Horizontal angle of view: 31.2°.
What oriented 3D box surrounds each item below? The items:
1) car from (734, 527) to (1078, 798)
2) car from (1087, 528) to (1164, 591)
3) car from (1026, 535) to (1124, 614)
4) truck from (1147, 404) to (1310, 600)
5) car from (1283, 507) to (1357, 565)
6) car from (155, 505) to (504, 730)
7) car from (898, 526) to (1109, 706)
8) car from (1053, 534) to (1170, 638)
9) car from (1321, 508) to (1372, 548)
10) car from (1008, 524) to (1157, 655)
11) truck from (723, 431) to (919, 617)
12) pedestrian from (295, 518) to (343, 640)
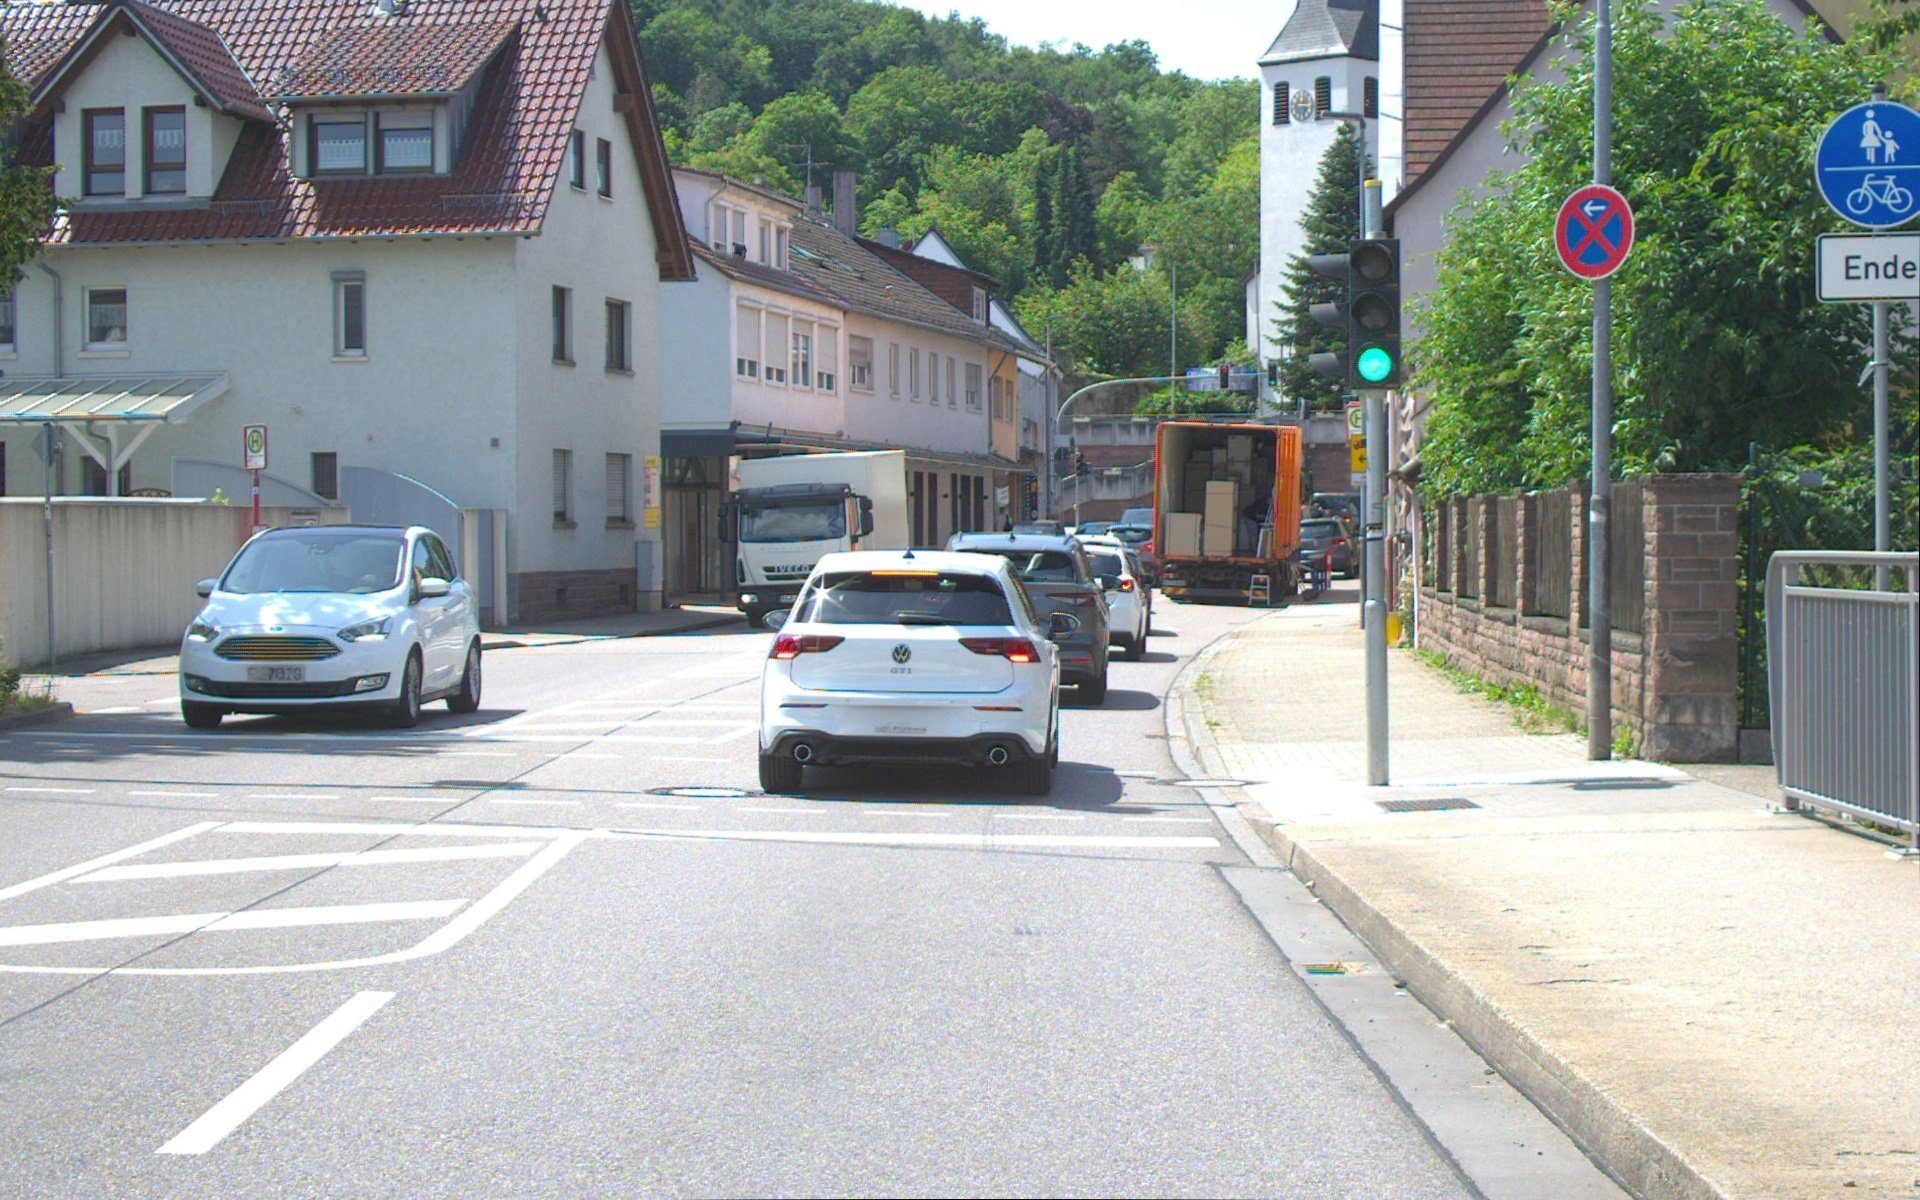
[{"bbox_3d":[-0.245,0.336,21.672,1.815,1.514,3.999,1,1,4],"label":"car"},{"bbox_3d":[4.141,-0.999,85.413,1.815,1.514,3.999,-1,0,4],"label":"car"},{"bbox_3d":[2.358,-0.525,69.590,1.815,1.514,3.999,-1,0,4],"label":"car"},{"bbox_3d":[6.257,-2.156,78.759,3.368,4.156,9.517,-1,0,6],"label":"truck"},{"bbox_3d":[9.780,-1.728,93.609,1.815,1.514,3.999,-1,0,4],"label":"car"},{"bbox_3d":[-4.990,0.111,27.744,1.815,1.644,3.999,1,1,4],"label":"car"},{"bbox_3d":[0.484,0.127,33.570,1.815,1.623,3.999,-1,0,4],"label":"car"},{"bbox_3d":[2.531,-0.238,56.666,1.815,1.623,3.999,-1,0,4],"label":"car"},{"bbox_3d":[15.239,-2.837,135.737,1.815,1.514,3.999,-1,0,4],"label":"car"},{"bbox_3d":[1.665,-0.148,45.630,1.815,1.623,3.999,-1,0,4],"label":"car"},{"bbox_3d":[-2.481,-1.358,63.402,2.502,3.224,6.038,-1,0,8],"label":"truck"},{"bbox_3d":[-9.310,-0.310,49.957,0.434,1.758,0.556,0,1,23],"label":"pedestrian"}]
